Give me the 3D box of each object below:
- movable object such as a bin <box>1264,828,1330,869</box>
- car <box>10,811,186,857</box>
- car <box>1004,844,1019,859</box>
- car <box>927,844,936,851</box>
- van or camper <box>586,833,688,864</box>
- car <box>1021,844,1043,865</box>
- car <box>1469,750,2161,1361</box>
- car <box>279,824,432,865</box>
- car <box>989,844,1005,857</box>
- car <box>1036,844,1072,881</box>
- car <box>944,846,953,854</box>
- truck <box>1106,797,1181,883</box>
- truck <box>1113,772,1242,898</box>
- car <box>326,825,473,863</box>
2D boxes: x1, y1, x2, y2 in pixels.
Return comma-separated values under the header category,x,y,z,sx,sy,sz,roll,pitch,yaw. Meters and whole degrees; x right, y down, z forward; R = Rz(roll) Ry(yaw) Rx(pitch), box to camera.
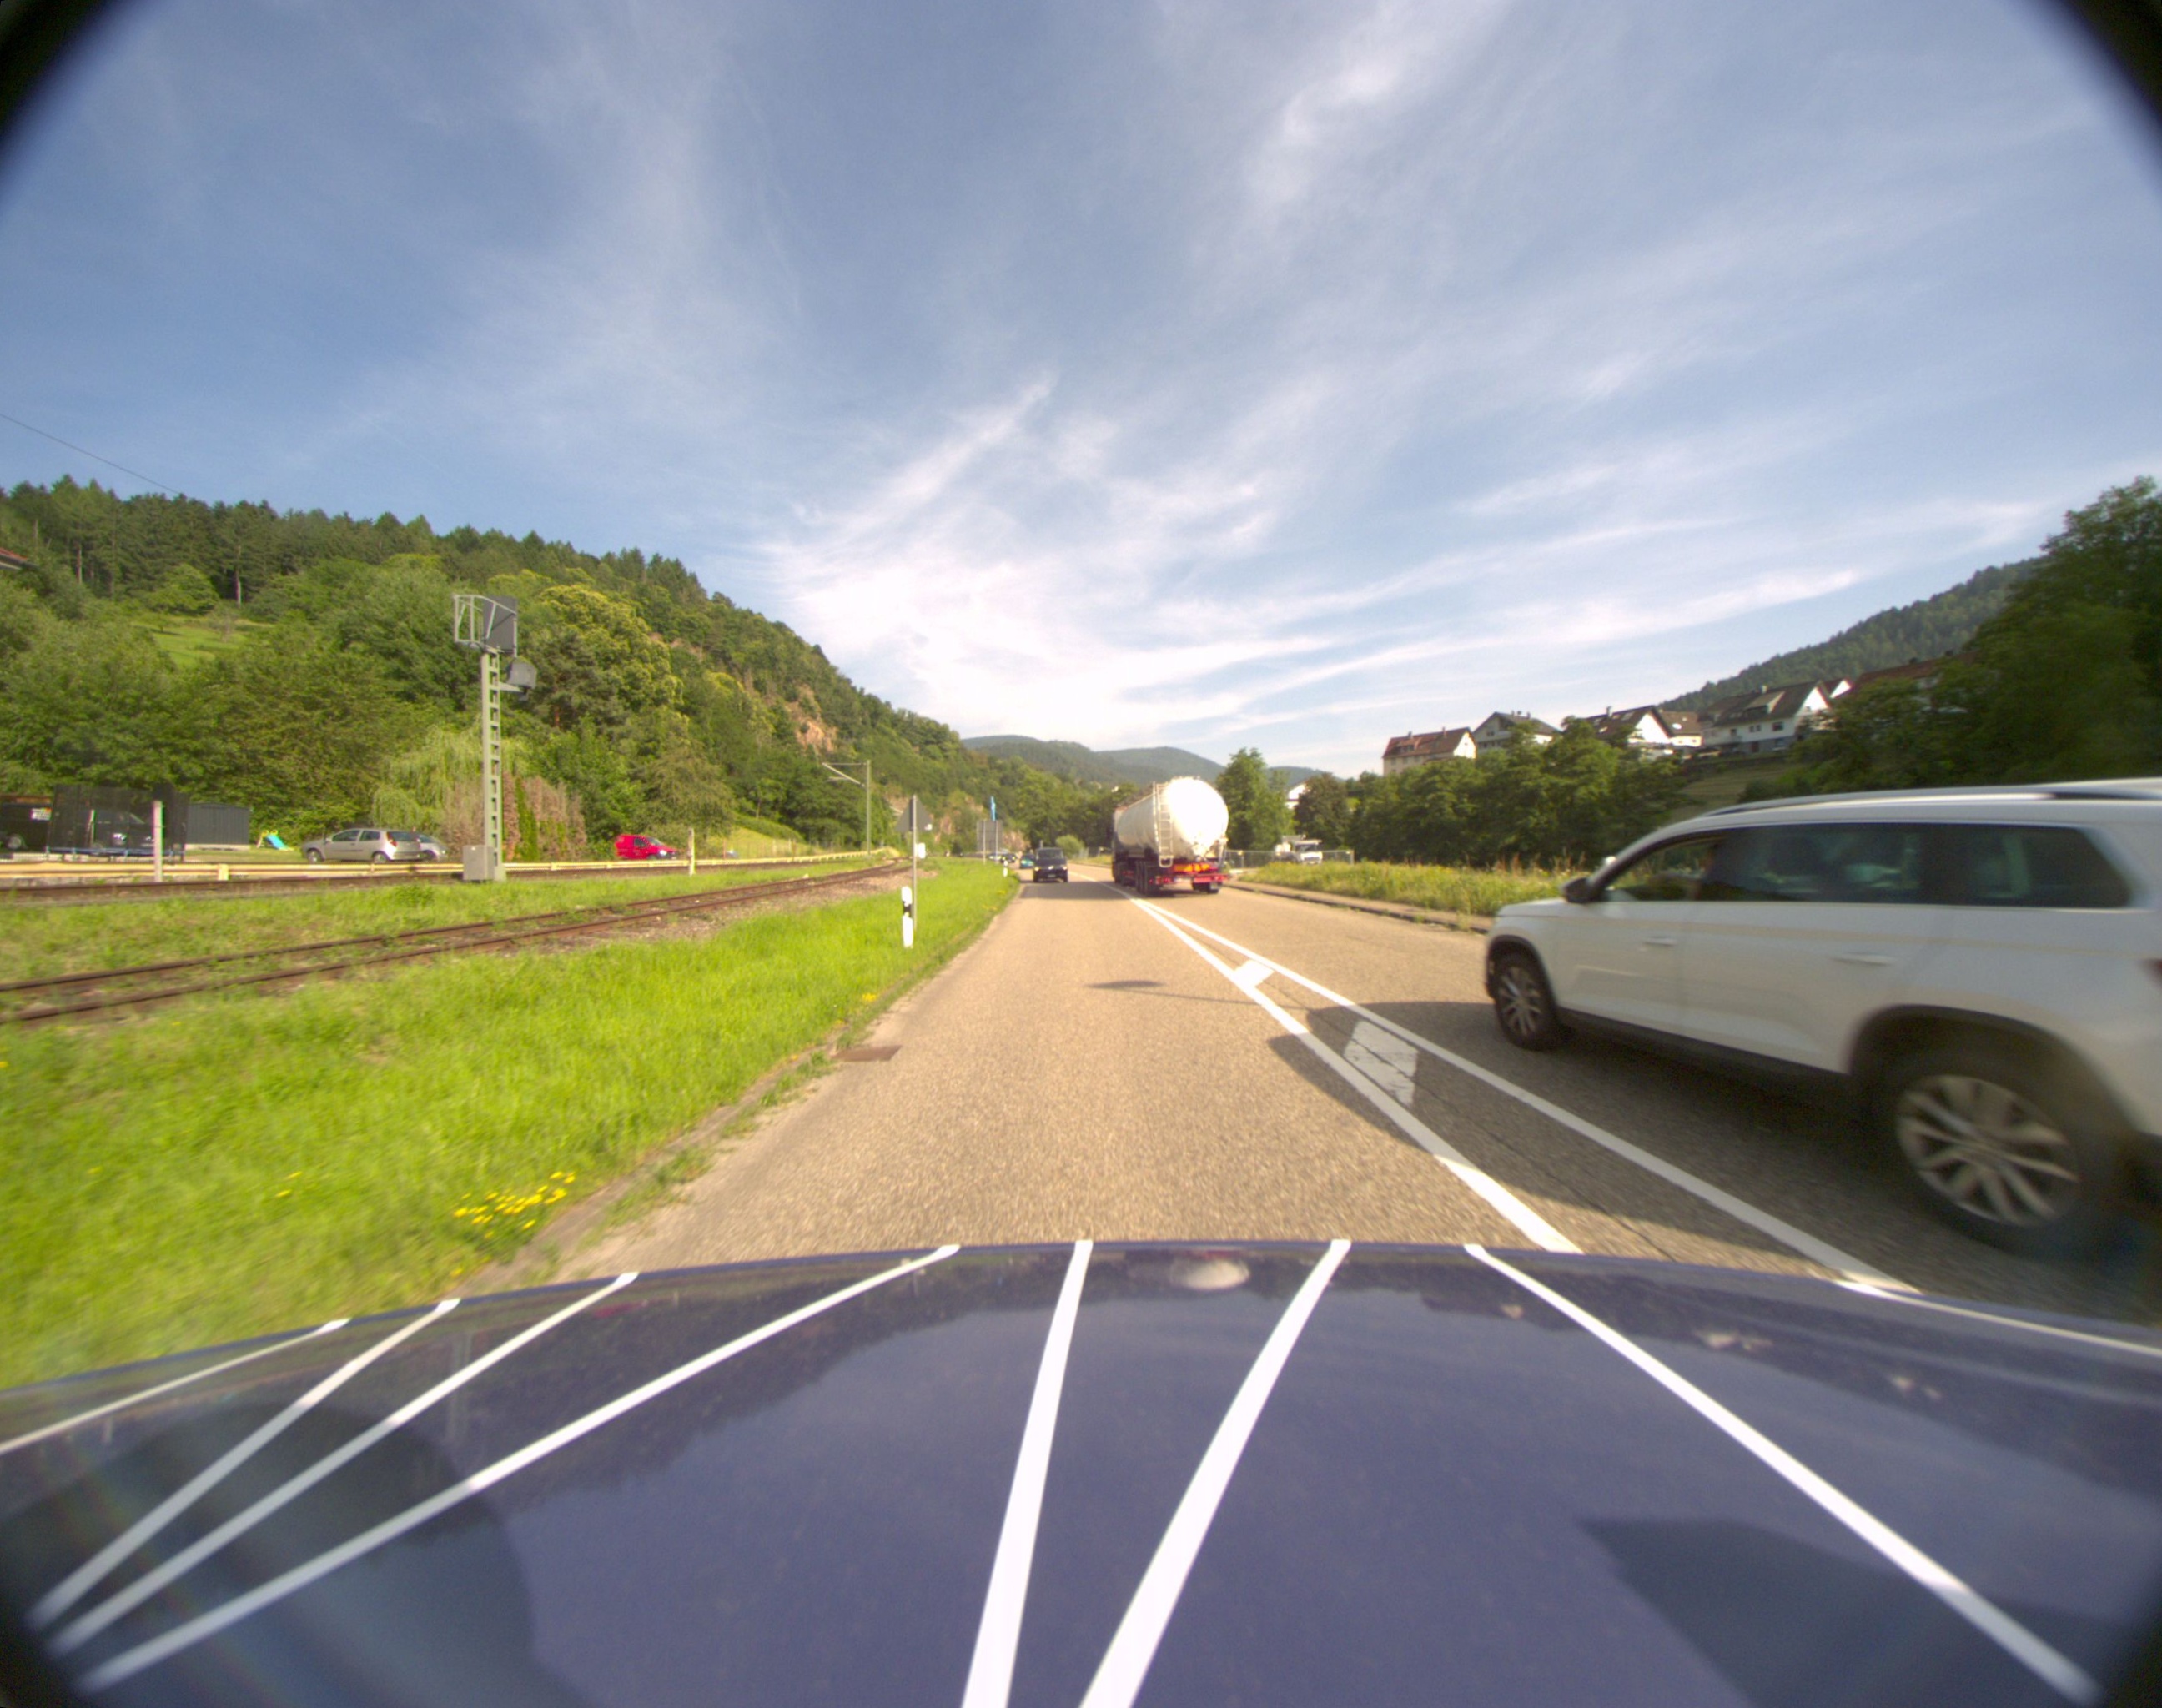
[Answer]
category,x,y,z,sx,sy,sz,roll,pitch,yaw
movable object such as a bin,21.871,-0.554,77.523,2.909,3.924,7.798,1,1,-14
car,-38.300,-0.739,29.700,3.999,1.674,1.999,1,0,-5
car,-10.062,-0.373,109.361,2.000,2.002,3.997,1,0,-7
car,-40.628,-1.724,206.528,2.002,2.002,3.993,1,0,-20
van or camper,-29.266,-0.349,50.203,5.430,1.918,2.120,1,1,0
car,-5.019,0.044,76.984,2.000,2.002,3.997,1,0,-7
car,4.050,0.517,3.667,1.999,1.748,4.469,-3,1,0
car,-28.563,-0.334,30.041,3.999,1.521,1.999,1,0,-5
car,-14.244,-0.608,128.974,2.001,2.002,3.994,1,0,-16
car,-1.591,0.516,43.583,1.999,2.001,4.000,0,-1,-3
car,-33.054,-1.033,189.808,2.000,2.002,3.996,1,0,-9
truck,3.003,-0.670,38.881,2.757,3.813,8.195,-2,0,-2
truck,3.294,-0.628,30.770,2.757,3.813,14.557,-2,0,-2
car,-29.127,-0.413,32.615,4.325,1.521,1.999,1,0,-5
